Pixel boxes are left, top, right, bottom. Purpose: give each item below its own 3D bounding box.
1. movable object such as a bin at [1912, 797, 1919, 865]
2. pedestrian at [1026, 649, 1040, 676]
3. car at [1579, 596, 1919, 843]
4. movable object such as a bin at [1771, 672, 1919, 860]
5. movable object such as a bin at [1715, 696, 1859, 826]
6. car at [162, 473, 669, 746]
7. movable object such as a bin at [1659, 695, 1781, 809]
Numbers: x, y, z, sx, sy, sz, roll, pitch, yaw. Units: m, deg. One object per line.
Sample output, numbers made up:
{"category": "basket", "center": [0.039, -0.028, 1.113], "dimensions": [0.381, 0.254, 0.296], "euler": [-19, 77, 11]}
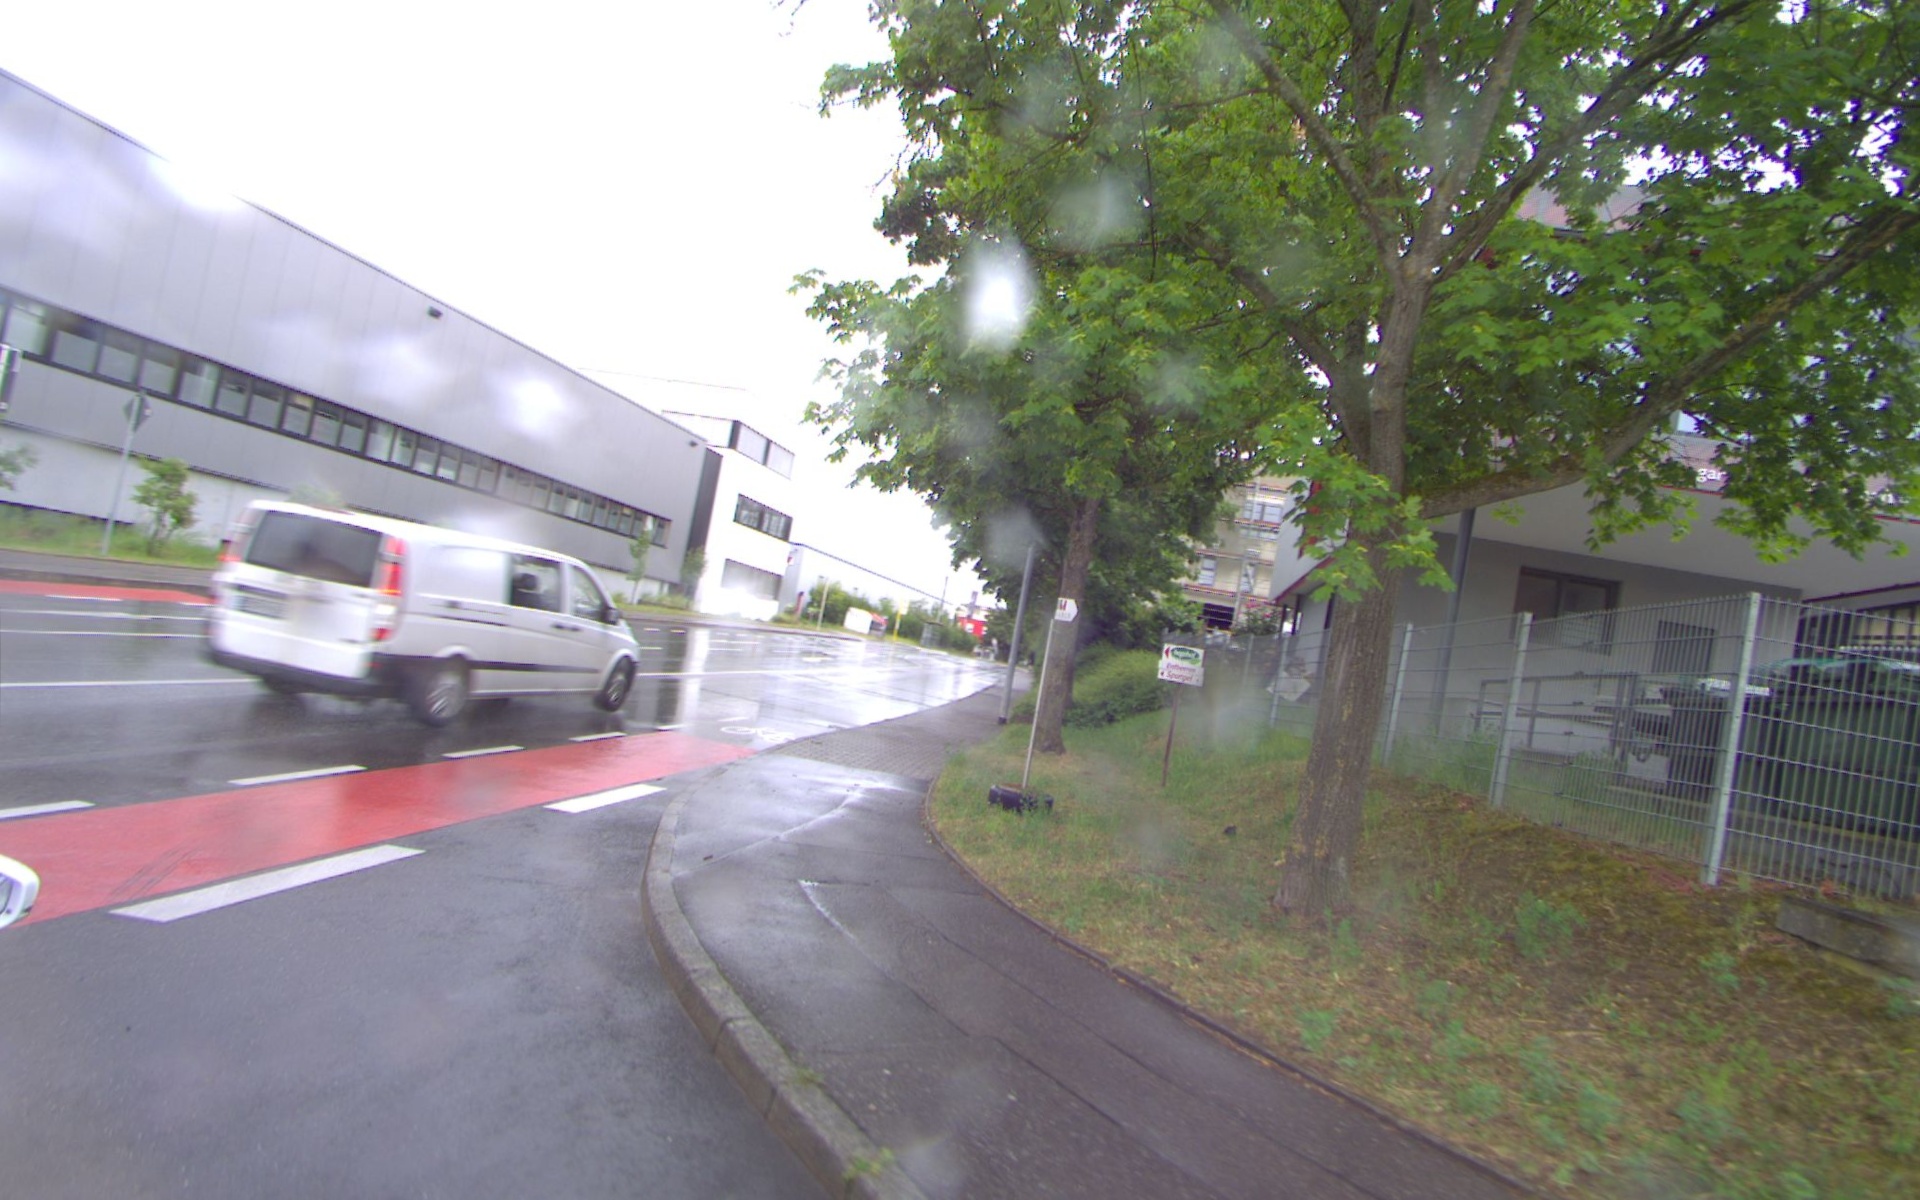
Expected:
{"category": "movable object such as a bin", "center": [5.772, 0.907, 4.951], "dimensions": [1.007, 1.175, 1.144], "euler": [8, -2, 9]}
{"category": "pedestrian", "center": [5.559, 4.749, 76.450], "dimensions": [0.764, 1.927, 0.730], "euler": [8, -2, 7]}
{"category": "car", "center": [9.550, 1.366, 10.318], "dimensions": [4.845, 2.036, 2.066], "euler": [8, -2, 7]}
{"category": "movable object such as a bin", "center": [5.895, 1.034, 6.228], "dimensions": [0.867, 1.054, 1.055], "euler": [8, -2, 11]}
{"category": "movable object such as a bin", "center": [6.061, 1.163, 7.400], "dimensions": [0.529, 0.827, 0.567], "euler": [8, -2, 9]}
{"category": "car", "center": [-5.380, 0.236, 11.127], "dimensions": [1.869, 2.040, 5.381], "euler": [8, -2, 8]}
{"category": "movable object such as a bin", "center": [6.187, 1.224, 8.212], "dimensions": [0.529, 0.810, 0.524], "euler": [8, -2, 9]}
